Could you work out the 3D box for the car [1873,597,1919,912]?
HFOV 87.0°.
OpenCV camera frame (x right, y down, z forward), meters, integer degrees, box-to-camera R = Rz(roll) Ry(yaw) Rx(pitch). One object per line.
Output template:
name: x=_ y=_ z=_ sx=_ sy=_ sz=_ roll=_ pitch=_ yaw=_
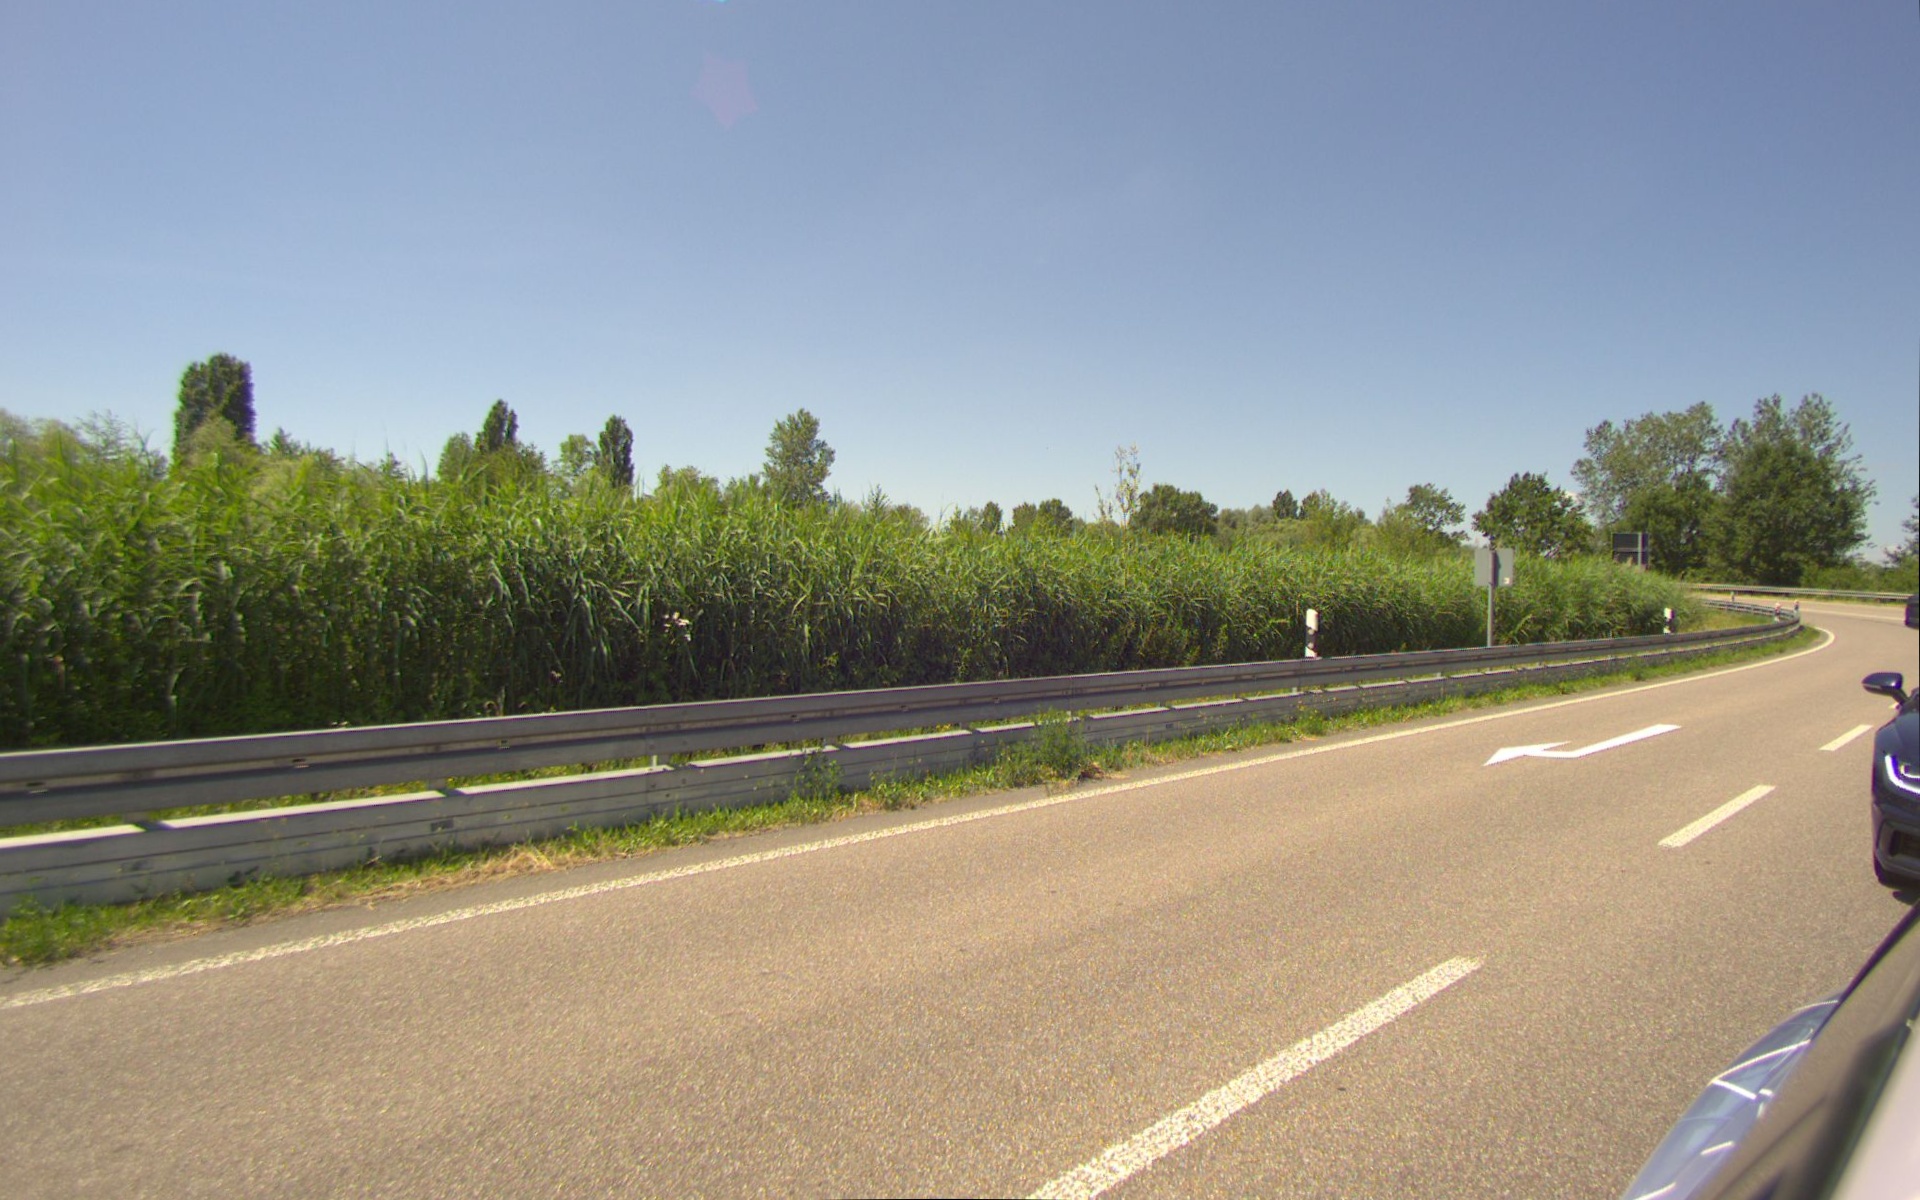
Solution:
car: x=6.327 y=0.700 z=5.381 sx=3.931 sy=1.427 sz=1.759 roll=-1 pitch=1 yaw=-41
